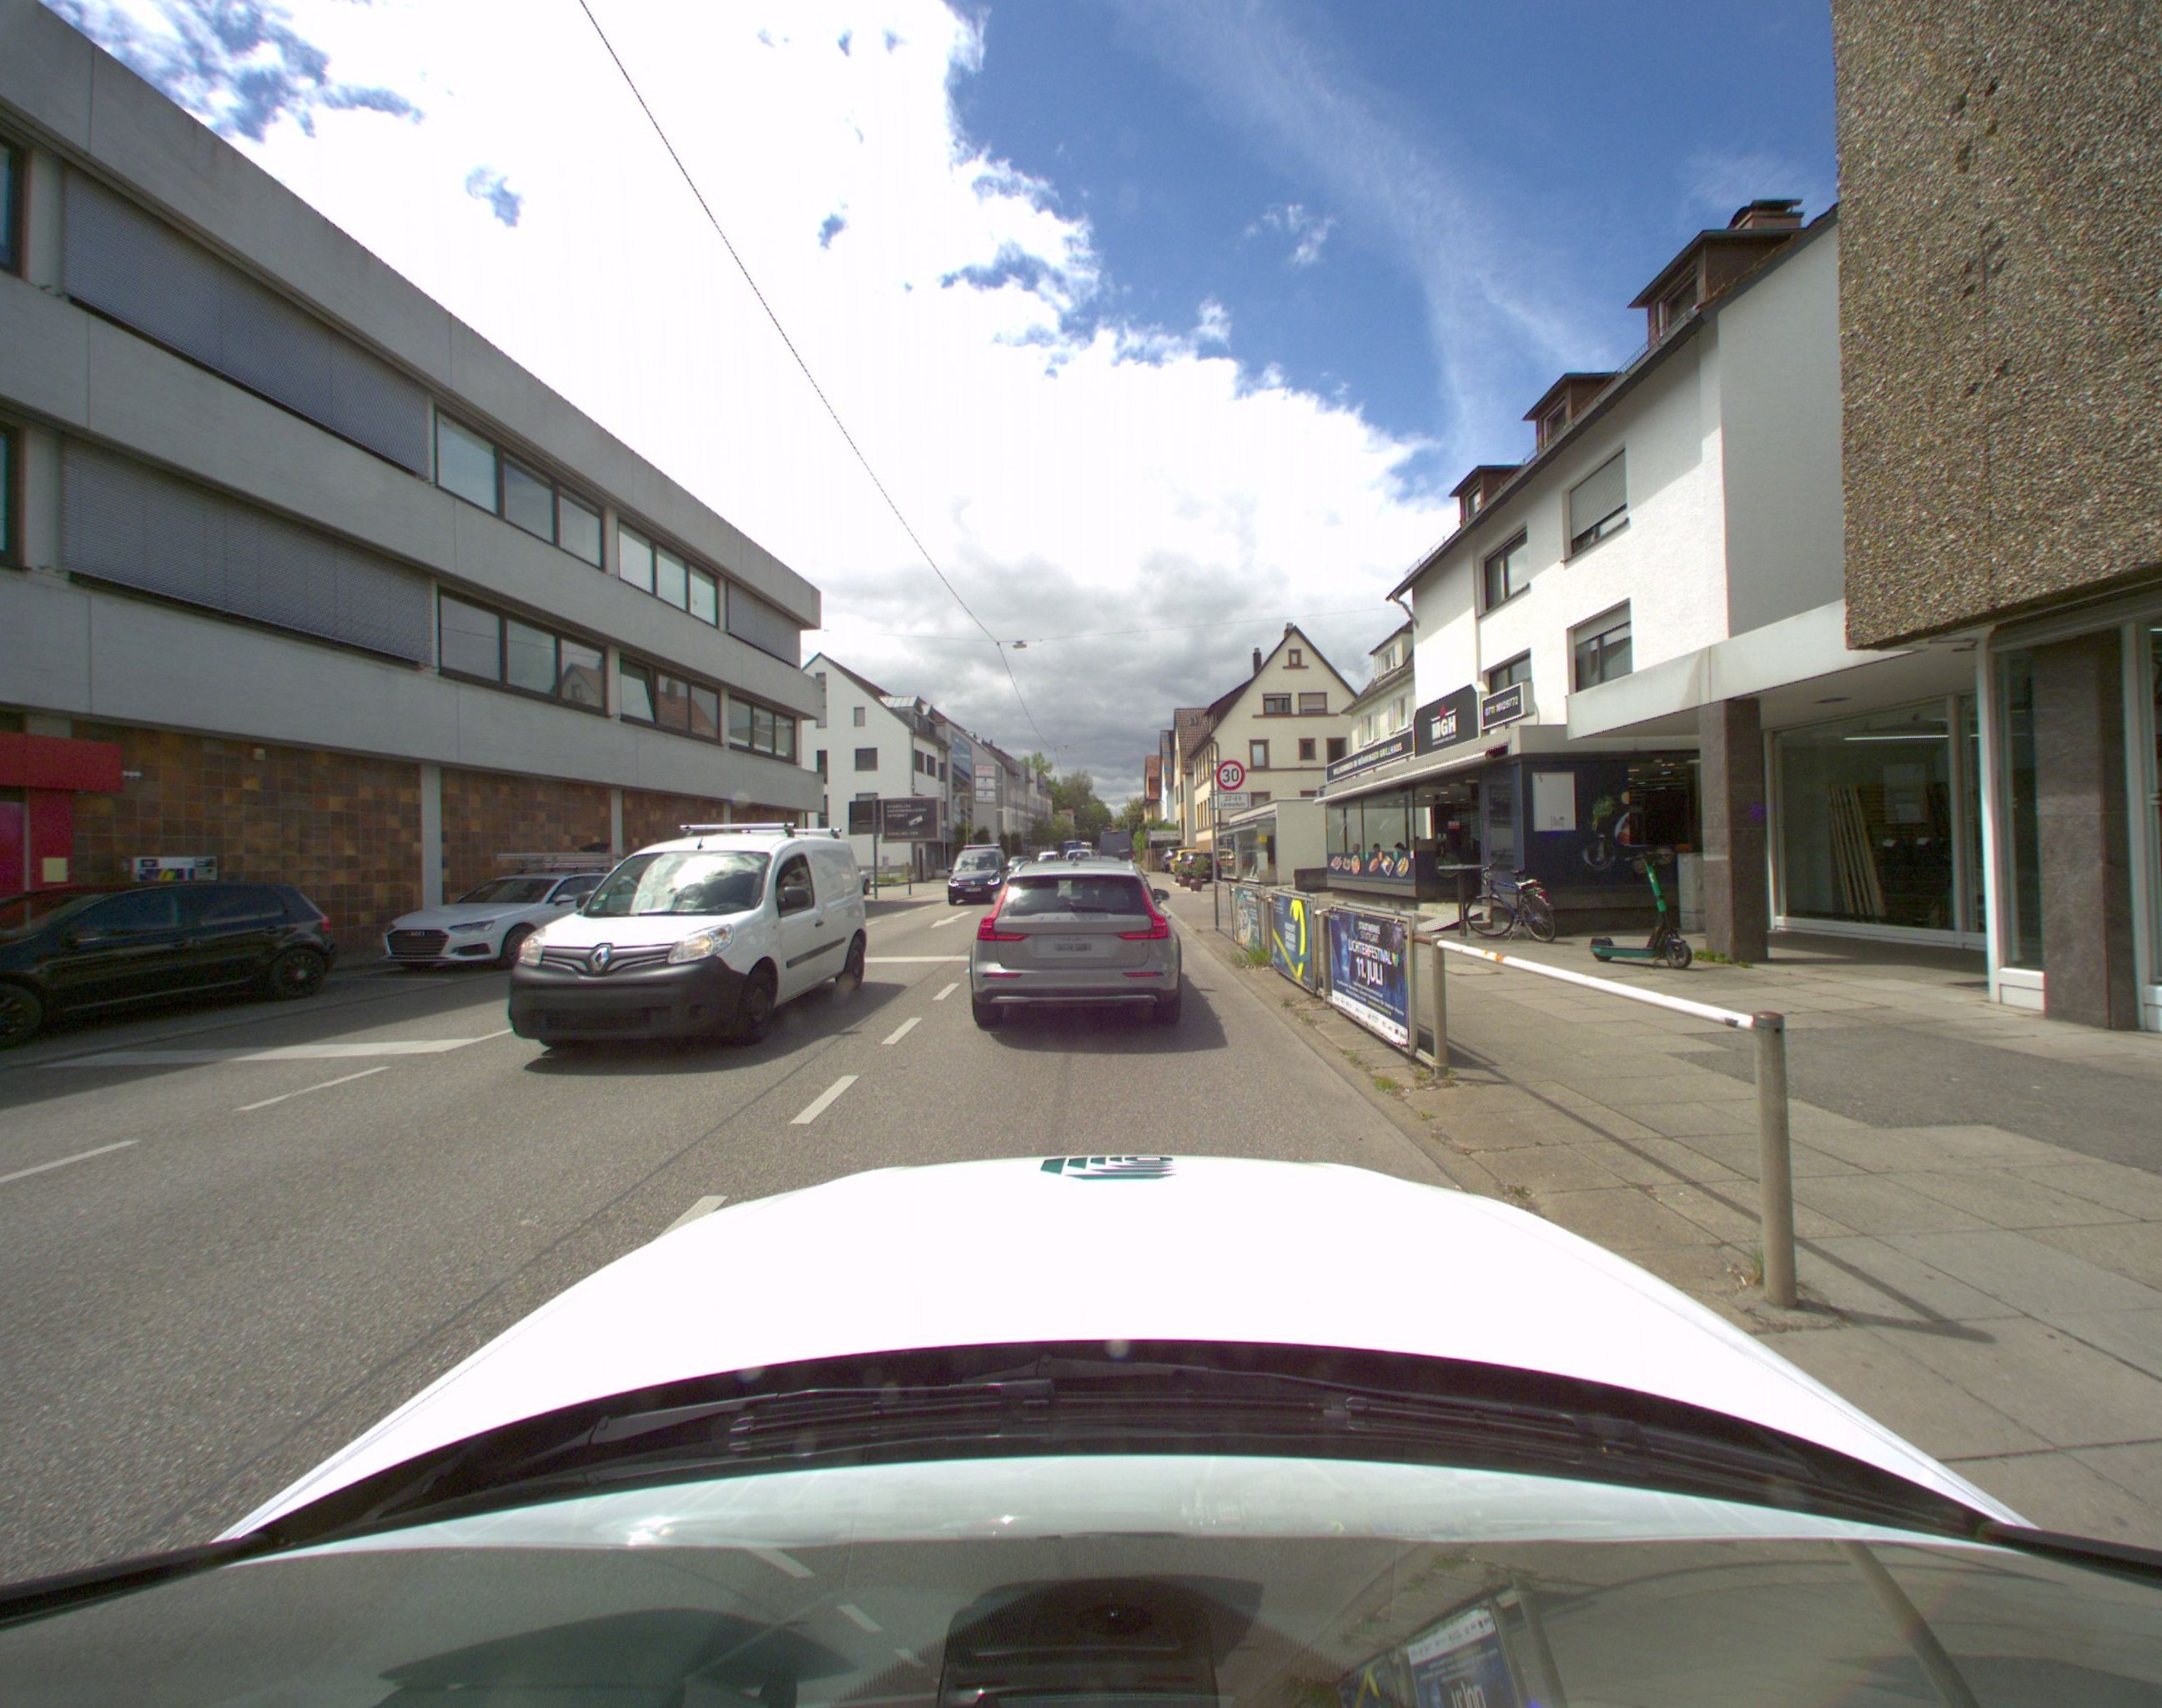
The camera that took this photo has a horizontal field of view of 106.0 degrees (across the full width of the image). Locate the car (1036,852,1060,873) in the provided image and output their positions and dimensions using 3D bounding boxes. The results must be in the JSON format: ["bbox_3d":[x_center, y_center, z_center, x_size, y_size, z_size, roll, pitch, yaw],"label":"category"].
[{"bbox_3d":[-2.917,0.780,72.518,1.791,1.816,4.001,-1,-1,2],"label":"car"}]

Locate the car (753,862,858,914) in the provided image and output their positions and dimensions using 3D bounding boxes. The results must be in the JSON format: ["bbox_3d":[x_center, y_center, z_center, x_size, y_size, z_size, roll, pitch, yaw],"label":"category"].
[{"bbox_3d":[-8.606,1.021,25.815,1.748,1.426,3.866,-2,0,4],"label":"car"}]

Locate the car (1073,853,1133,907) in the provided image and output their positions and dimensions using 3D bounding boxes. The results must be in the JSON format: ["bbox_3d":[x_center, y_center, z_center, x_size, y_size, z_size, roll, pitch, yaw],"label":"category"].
[{"bbox_3d":[0.648,0.735,24.682,1.645,1.482,3.607,-1,0,1],"label":"car"}]

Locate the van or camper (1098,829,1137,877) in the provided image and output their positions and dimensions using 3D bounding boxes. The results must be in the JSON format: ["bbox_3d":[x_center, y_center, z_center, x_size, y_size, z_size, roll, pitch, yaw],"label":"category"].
[{"bbox_3d":[2.178,-0.074,48.981,2.115,2.686,4.783,-2,0,2],"label":"van or camper"}]

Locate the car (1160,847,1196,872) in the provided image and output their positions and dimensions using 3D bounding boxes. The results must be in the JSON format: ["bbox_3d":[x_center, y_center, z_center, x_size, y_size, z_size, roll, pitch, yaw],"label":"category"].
[{"bbox_3d":[5.982,0.380,50.723,1.875,1.500,3.973,-1,-1,2],"label":"car"}]

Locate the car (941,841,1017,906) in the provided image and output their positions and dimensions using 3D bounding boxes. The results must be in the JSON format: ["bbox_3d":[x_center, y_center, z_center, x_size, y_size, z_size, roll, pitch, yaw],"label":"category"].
[{"bbox_3d":[-3.322,0.618,27.427,1.832,1.917,4.531,-3,0,1],"label":"car"}]

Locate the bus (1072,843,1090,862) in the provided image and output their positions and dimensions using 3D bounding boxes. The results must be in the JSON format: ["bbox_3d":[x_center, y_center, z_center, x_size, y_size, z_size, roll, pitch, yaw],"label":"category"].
[{"bbox_3d":[0.021,-0.237,119.306,2.267,2.668,7.433,-2,0,2],"label":"bus"}]

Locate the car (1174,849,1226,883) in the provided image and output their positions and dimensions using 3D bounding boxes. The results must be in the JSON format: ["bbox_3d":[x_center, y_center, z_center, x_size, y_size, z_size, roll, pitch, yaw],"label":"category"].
[{"bbox_3d":[5.374,0.566,37.245,1.705,1.464,3.998,-1,-1,-1],"label":"car"}]

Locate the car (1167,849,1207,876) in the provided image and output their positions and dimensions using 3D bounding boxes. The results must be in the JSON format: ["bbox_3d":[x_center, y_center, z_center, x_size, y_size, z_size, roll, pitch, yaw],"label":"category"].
[{"bbox_3d":[5.996,0.525,46.314,1.875,1.416,3.973,-1,-1,2],"label":"car"}]

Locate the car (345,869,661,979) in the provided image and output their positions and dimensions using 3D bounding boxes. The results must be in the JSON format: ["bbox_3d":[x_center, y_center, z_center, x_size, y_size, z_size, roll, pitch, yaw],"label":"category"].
[{"bbox_3d":[-9.362,1.035,13.783,1.894,1.443,4.450,0,0,5],"label":"car"}]

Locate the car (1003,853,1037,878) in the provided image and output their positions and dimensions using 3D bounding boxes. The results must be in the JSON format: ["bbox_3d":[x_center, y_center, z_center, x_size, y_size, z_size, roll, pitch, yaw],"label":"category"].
[{"bbox_3d":[-3.802,0.704,51.470,1.756,1.426,4.001,-2,0,1],"label":"car"}]

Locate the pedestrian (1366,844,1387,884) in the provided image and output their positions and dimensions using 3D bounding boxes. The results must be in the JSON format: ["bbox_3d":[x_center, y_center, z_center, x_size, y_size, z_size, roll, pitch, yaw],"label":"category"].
[{"bbox_3d":[8.005,0.263,22.073,0.413,1.052,0.367,-2,0,-1],"label":"pedestrian"}]

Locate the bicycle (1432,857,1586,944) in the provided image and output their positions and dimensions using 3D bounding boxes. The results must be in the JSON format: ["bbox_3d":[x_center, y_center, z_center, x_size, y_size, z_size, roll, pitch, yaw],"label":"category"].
[{"bbox_3d":[6.287,0.633,12.137,0.556,1.144,2.287,-2,0,-16],"label":"bicycle"}]

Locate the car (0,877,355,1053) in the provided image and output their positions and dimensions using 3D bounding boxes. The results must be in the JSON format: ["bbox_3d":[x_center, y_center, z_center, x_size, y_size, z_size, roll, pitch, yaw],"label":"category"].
[{"bbox_3d":[-10.324,1.028,8.400,1.776,1.464,4.092,0,0,5],"label":"car"}]

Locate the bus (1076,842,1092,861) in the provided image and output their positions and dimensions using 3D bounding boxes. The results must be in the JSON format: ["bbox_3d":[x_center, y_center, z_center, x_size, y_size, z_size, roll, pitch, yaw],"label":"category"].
[{"bbox_3d":[0.526,-0.409,127.612,2.267,2.901,7.082,-2,0,2],"label":"bus"}]

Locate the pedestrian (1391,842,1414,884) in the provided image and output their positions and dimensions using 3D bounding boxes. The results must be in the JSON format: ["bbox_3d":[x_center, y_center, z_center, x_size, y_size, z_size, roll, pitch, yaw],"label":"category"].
[{"bbox_3d":[8.182,0.231,20.724,0.413,1.052,0.367,-2,0,-1],"label":"pedestrian"}]

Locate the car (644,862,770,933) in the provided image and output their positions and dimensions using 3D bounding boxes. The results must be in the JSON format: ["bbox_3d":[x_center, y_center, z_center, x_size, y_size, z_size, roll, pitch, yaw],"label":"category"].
[{"bbox_3d":[-8.926,0.980,19.679,1.601,1.543,2.946,0,0,2],"label":"car"}]

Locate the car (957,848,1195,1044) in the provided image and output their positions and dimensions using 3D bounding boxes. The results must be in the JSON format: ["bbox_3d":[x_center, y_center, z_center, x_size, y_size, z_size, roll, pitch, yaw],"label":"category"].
[{"bbox_3d":[-0.012,0.729,8.397,1.829,1.486,4.000,-1,0,1],"label":"car"}]

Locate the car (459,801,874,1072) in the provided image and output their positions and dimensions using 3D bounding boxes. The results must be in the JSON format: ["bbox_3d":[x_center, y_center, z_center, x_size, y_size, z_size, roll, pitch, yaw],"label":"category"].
[{"bbox_3d":[-3.502,0.603,7.917,1.832,1.917,4.156,-1,0,1],"label":"car"}]

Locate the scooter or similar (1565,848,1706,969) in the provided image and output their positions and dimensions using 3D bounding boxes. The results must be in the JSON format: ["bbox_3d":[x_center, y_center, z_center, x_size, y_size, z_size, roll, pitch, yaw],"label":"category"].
[{"bbox_3d":[6.210,0.590,9.181,0.342,1.253,1.235,-4,-1,-25],"label":"scooter or similar"}]

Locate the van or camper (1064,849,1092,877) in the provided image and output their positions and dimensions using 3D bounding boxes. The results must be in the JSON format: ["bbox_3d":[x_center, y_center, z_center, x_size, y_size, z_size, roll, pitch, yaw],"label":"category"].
[{"bbox_3d":[-0.162,0.670,56.828,1.813,1.835,4.000,-2,-2,1],"label":"van or camper"}]

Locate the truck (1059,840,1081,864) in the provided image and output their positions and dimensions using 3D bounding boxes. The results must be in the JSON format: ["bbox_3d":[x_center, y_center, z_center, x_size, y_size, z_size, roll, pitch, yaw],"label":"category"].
[{"bbox_3d":[-1.352,-0.296,103.365,2.267,2.886,7.082,-2,0,2],"label":"truck"}]

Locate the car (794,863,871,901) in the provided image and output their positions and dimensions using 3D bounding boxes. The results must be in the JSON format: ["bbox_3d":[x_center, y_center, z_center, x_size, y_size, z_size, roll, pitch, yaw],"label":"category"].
[{"bbox_3d":[-10.490,1.143,34.665,1.899,1.398,3.844,-2,0,2],"label":"car"}]

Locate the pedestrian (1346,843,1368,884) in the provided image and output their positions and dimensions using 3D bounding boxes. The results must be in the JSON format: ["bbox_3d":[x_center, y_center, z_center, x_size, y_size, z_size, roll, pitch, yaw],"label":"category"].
[{"bbox_3d":[7.325,0.244,21.623,0.413,1.052,0.367,-2,0,-1],"label":"pedestrian"}]
